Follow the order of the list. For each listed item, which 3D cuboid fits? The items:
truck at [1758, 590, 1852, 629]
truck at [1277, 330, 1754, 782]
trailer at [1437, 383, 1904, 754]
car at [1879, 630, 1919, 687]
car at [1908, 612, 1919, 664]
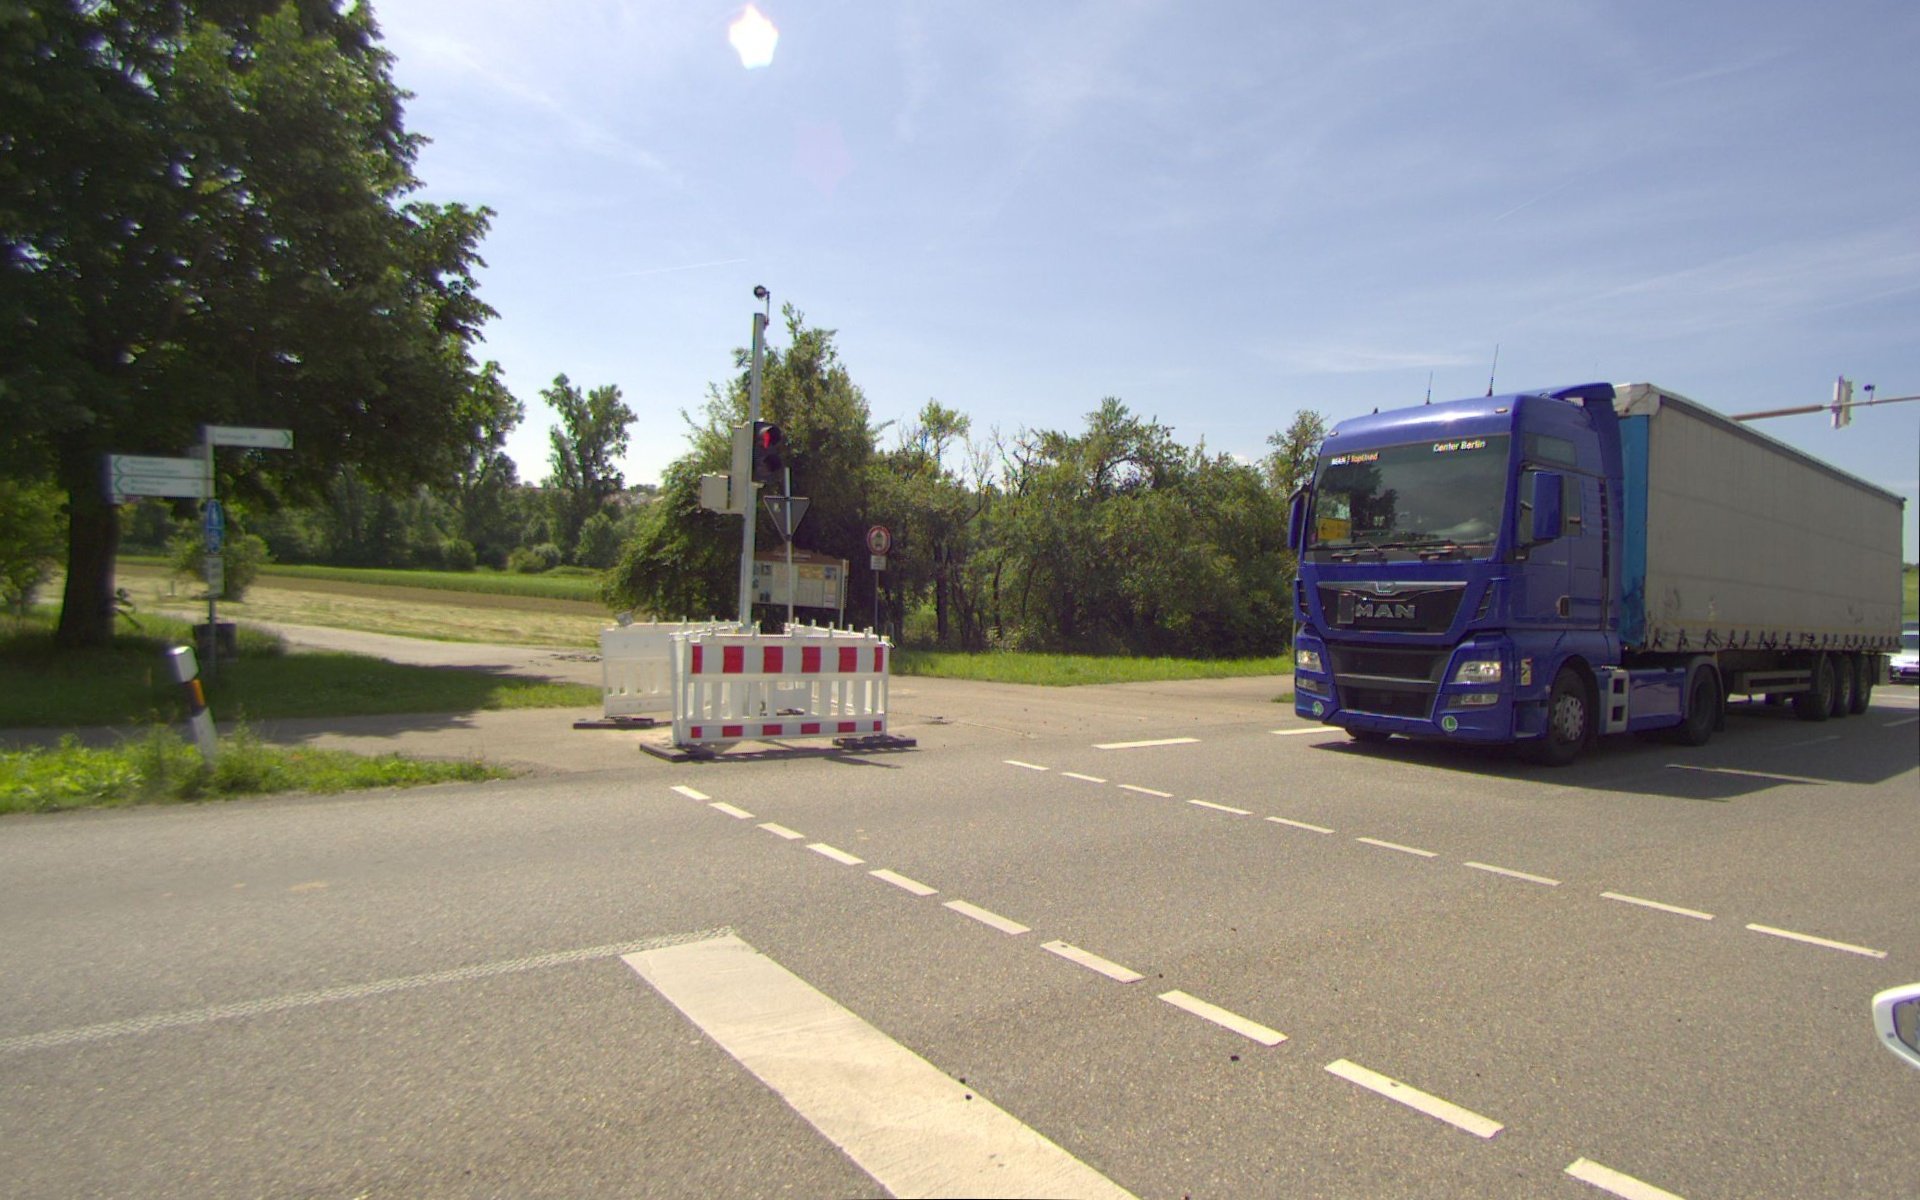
[{"bbox_3d":[100.016,1.166,119.276,3.576,4.184,13.101,3,0,18],"label":"truck"},{"bbox_3d":[6.886,-0.348,12.062,6.499,4.084,2.548,1,0,-37],"label":"truck"},{"bbox_3d":[12.280,-0.234,16.300,13.476,4.084,2.546,1,0,-39],"label":"trailer"},{"bbox_3d":[27.048,1.628,28.132,1.753,1.515,3.975,1,-1,45],"label":"car"},{"bbox_3d":[39.715,1.569,40.478,1.972,2.032,5.137,2,0,42],"label":"car"}]
